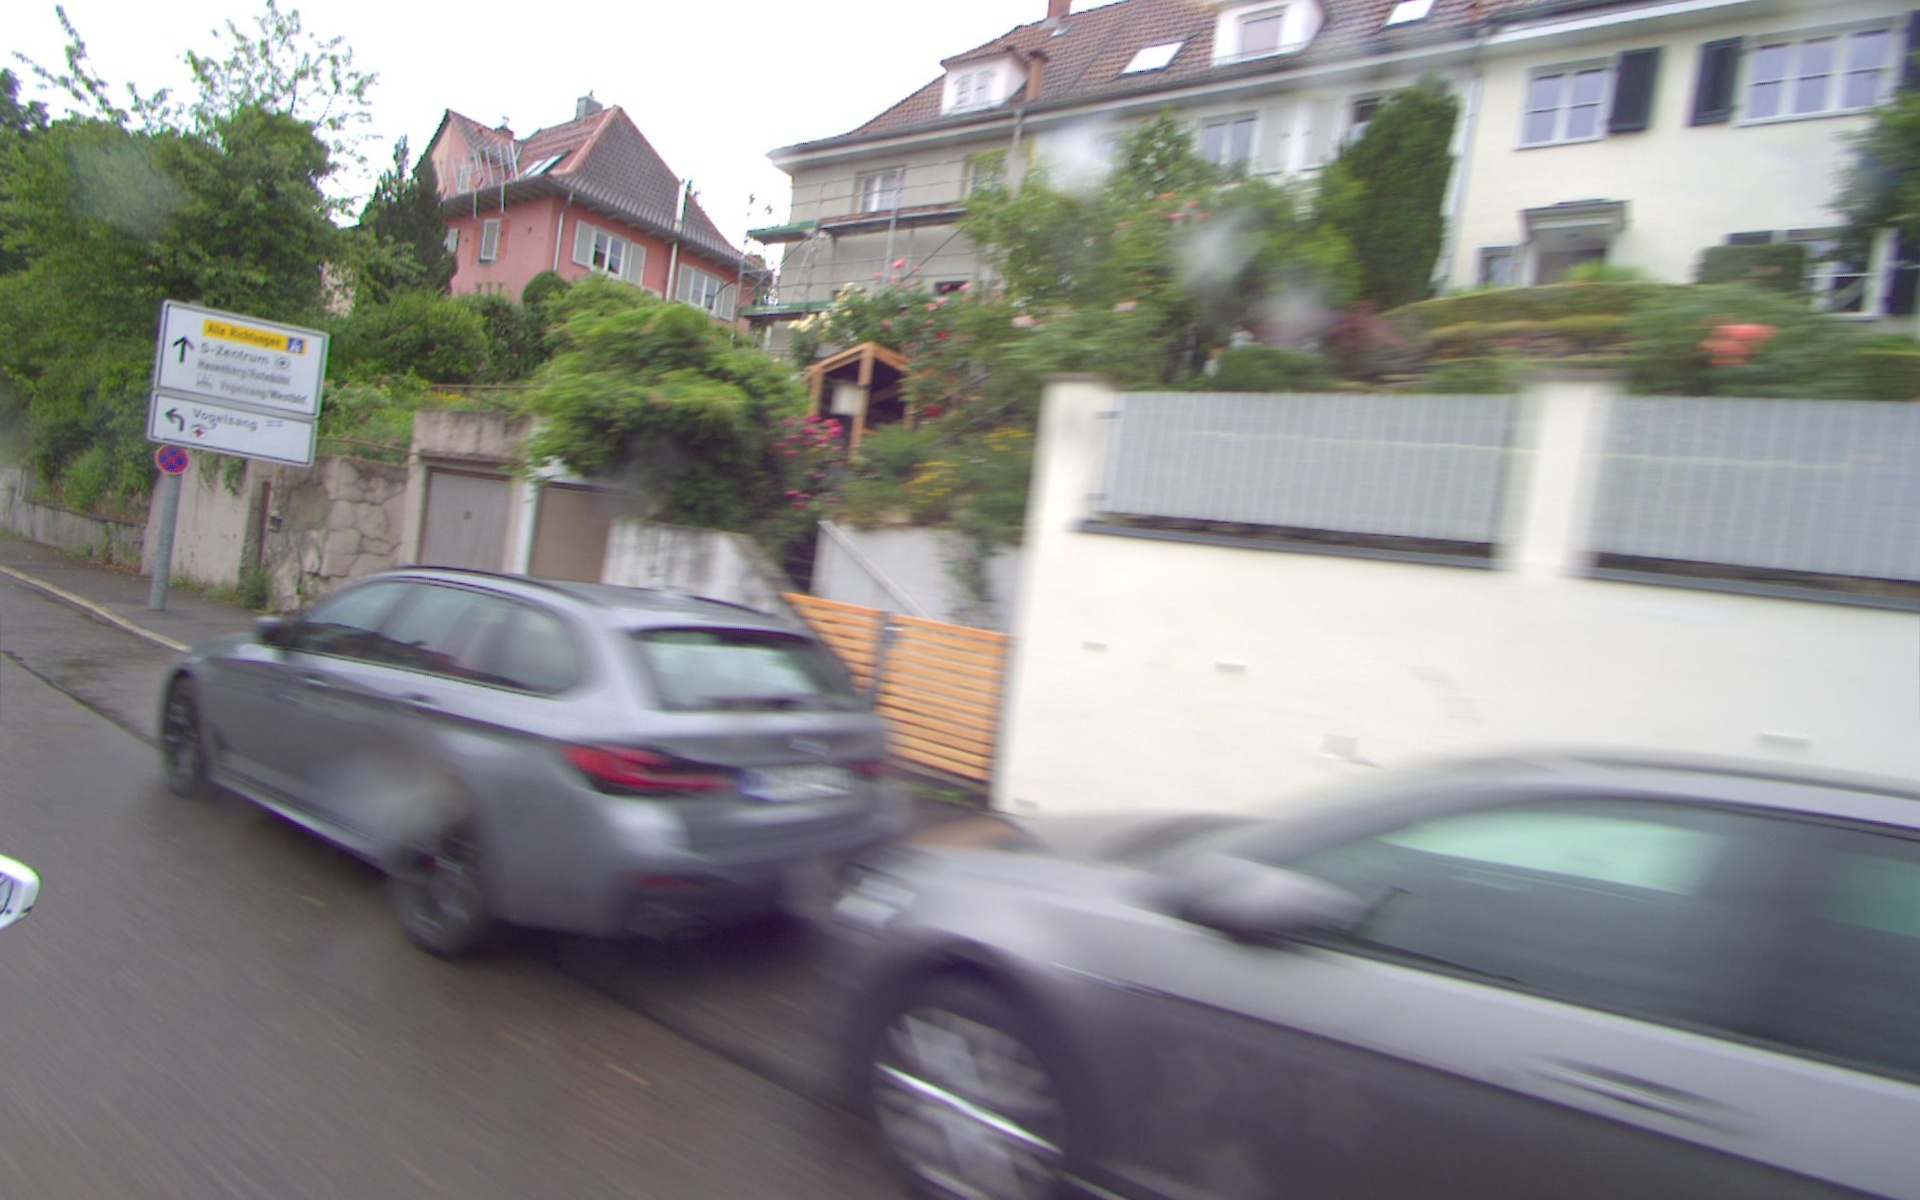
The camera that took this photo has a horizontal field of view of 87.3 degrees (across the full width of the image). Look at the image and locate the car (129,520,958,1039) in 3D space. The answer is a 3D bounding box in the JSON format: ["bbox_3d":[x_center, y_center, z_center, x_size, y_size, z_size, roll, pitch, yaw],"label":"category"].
[{"bbox_3d":[-2.466,0.551,5.311,4.633,1.513,1.790,6,-2,36],"label":"car"}]

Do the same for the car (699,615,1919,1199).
[{"bbox_3d":[1.434,1.045,2.555,4.107,1.453,1.643,7,-1,34],"label":"car"}]
